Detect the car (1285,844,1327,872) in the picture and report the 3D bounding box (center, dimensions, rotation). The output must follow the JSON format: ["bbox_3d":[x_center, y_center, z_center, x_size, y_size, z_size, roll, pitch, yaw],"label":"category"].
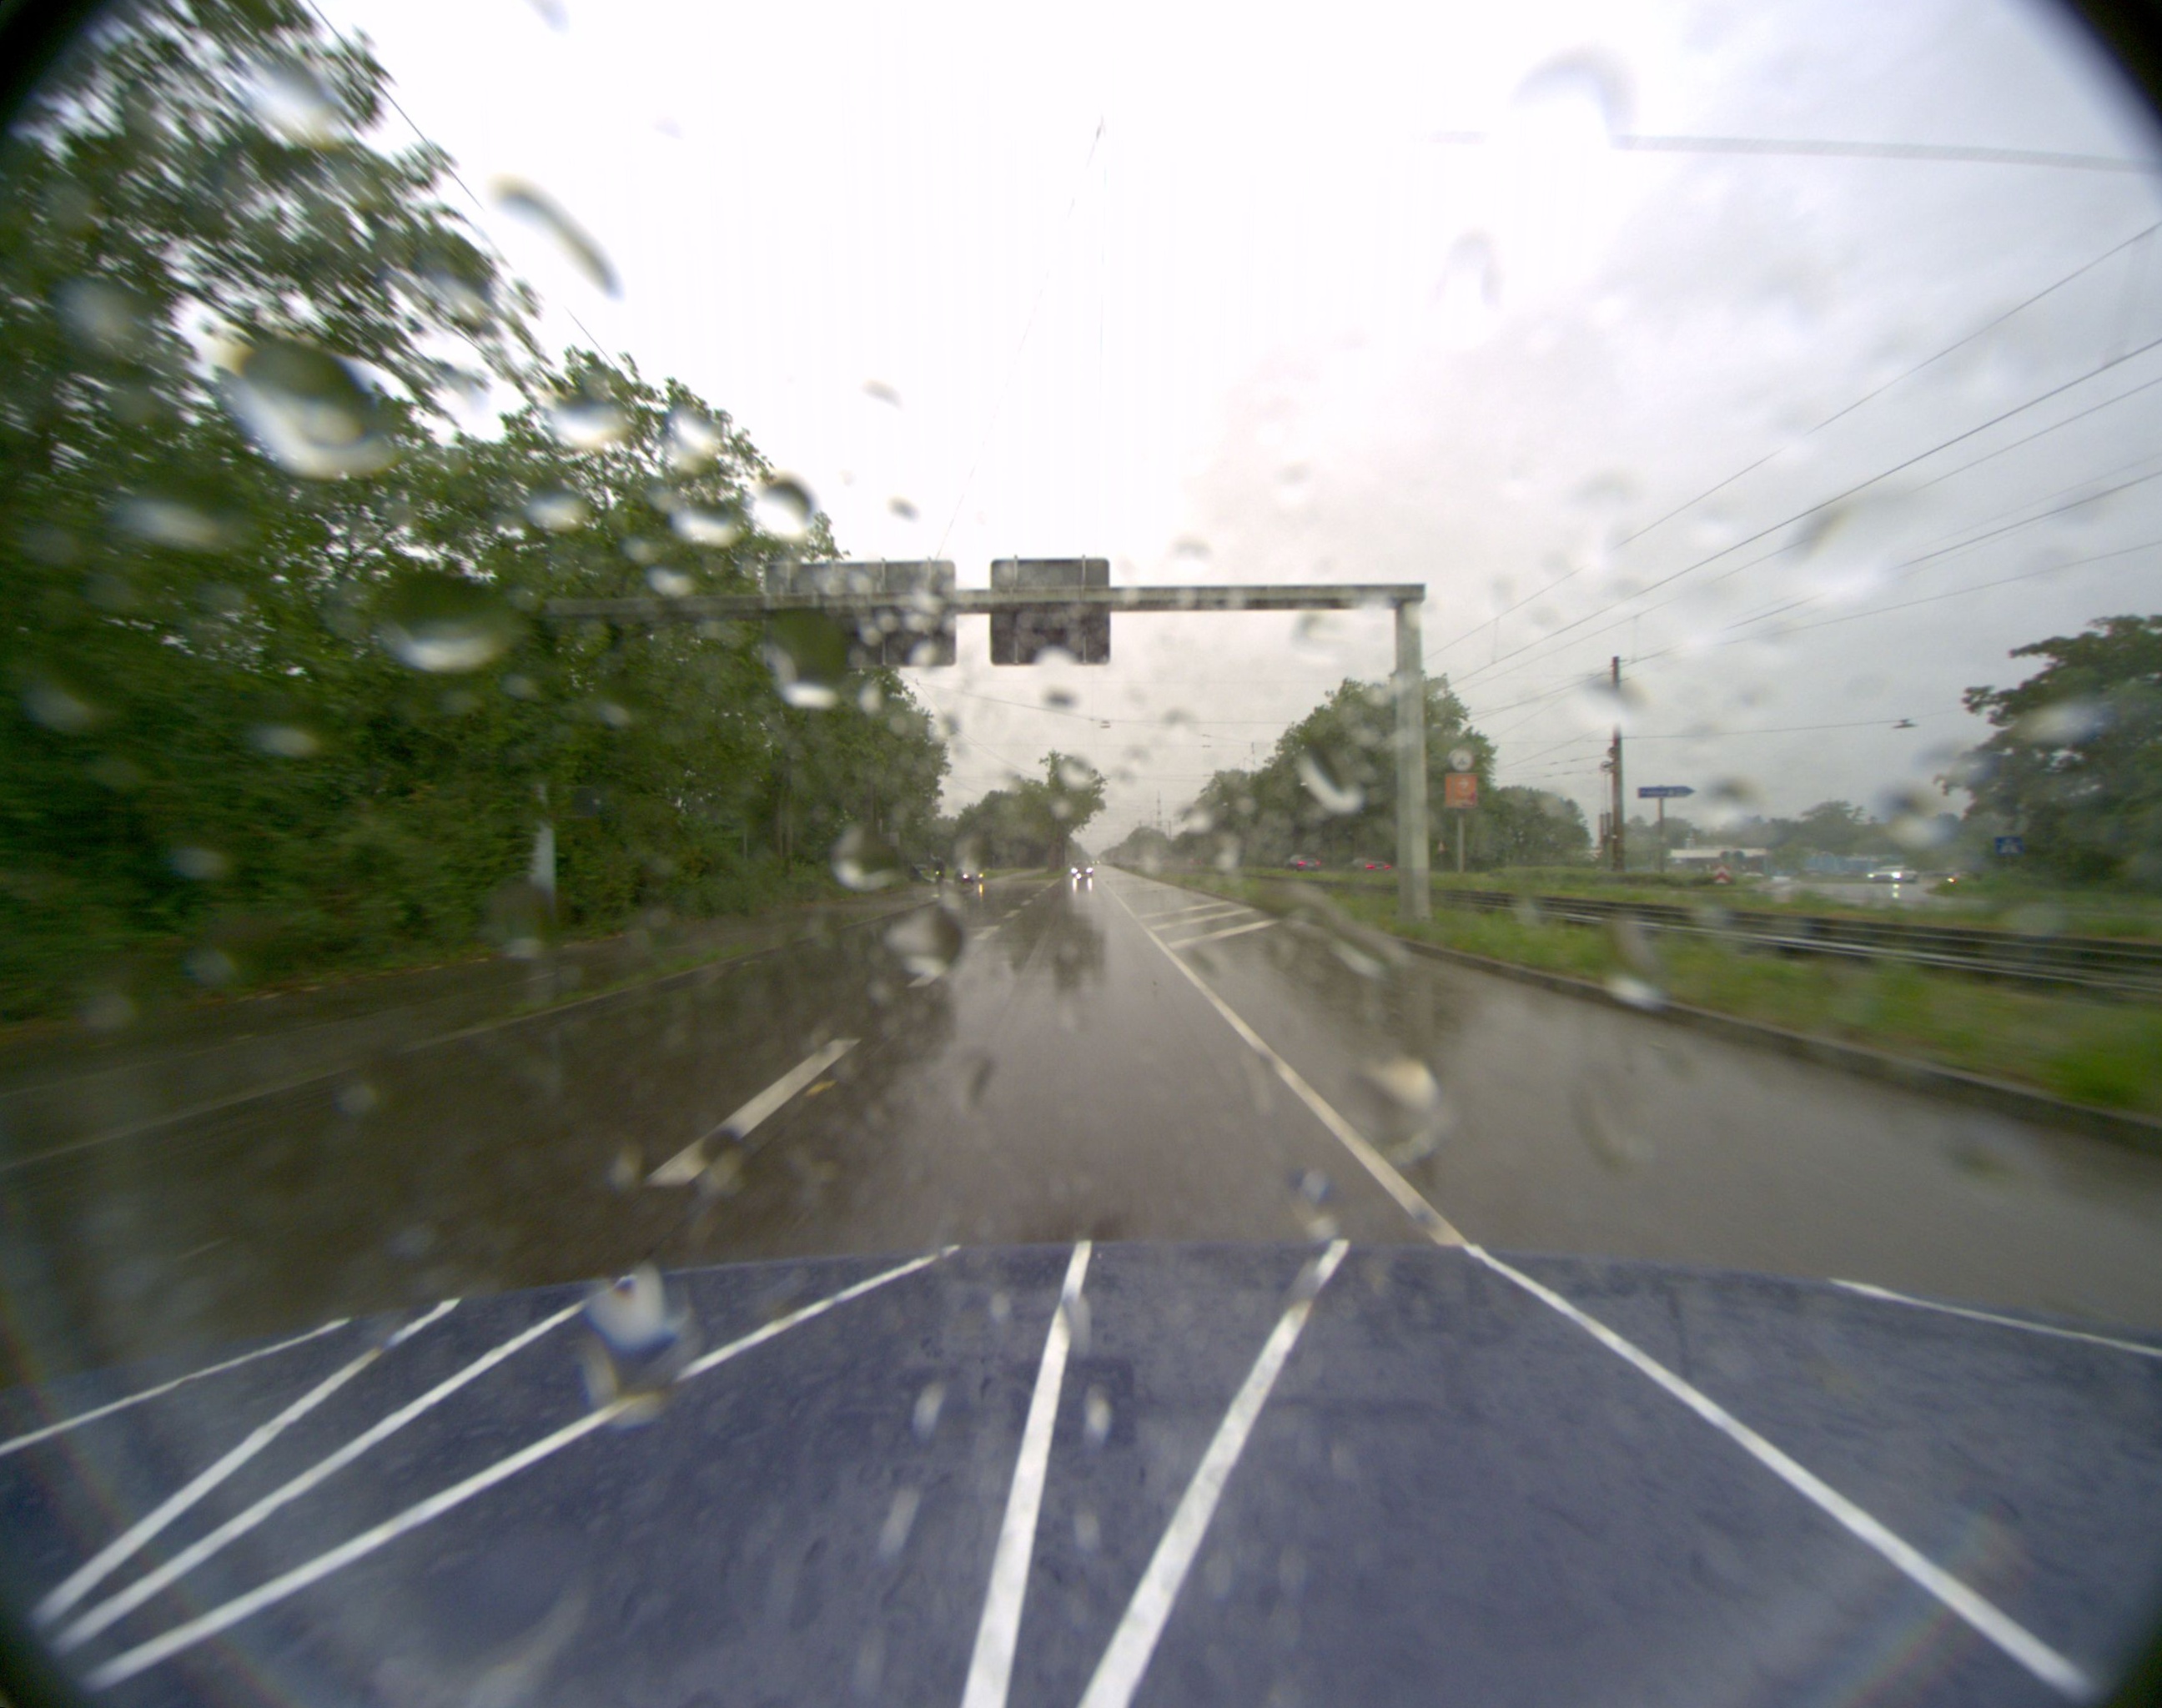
[{"bbox_3d":[17.466,0.287,59.181,1.998,2.002,4.000,-2,0,0],"label":"car"}]

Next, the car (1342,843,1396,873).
[{"bbox_3d":[20.699,0.307,54.799,1.975,2.002,4.519,-2,0,-3],"label":"car"}]

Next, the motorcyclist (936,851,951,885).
[{"bbox_3d":[-9.433,0.959,52.120,0.762,2.246,0.915,-2,1,0],"label":"motorcyclist"}]

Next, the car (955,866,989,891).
[{"bbox_3d":[-9.510,2.095,66.196,2.002,2.002,3.993,-2,0,-21],"label":"car"}]

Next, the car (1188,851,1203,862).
[{"bbox_3d":[21.499,0.518,142.787,1.998,2.002,4.000,-2,0,0],"label":"car"}]

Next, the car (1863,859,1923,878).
[{"bbox_3d":[67.577,1.188,63.228,4.495,1.348,1.604,-2,1,-18],"label":"car"}]

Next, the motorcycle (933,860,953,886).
[{"bbox_3d":[-9.435,1.273,52.164,0.845,1.710,2.585,-2,0,0],"label":"motorcycle"}]

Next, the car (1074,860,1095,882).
[{"bbox_3d":[0.355,1.624,74.205,1.998,2.002,4.000,-2,0,0],"label":"car"}]
